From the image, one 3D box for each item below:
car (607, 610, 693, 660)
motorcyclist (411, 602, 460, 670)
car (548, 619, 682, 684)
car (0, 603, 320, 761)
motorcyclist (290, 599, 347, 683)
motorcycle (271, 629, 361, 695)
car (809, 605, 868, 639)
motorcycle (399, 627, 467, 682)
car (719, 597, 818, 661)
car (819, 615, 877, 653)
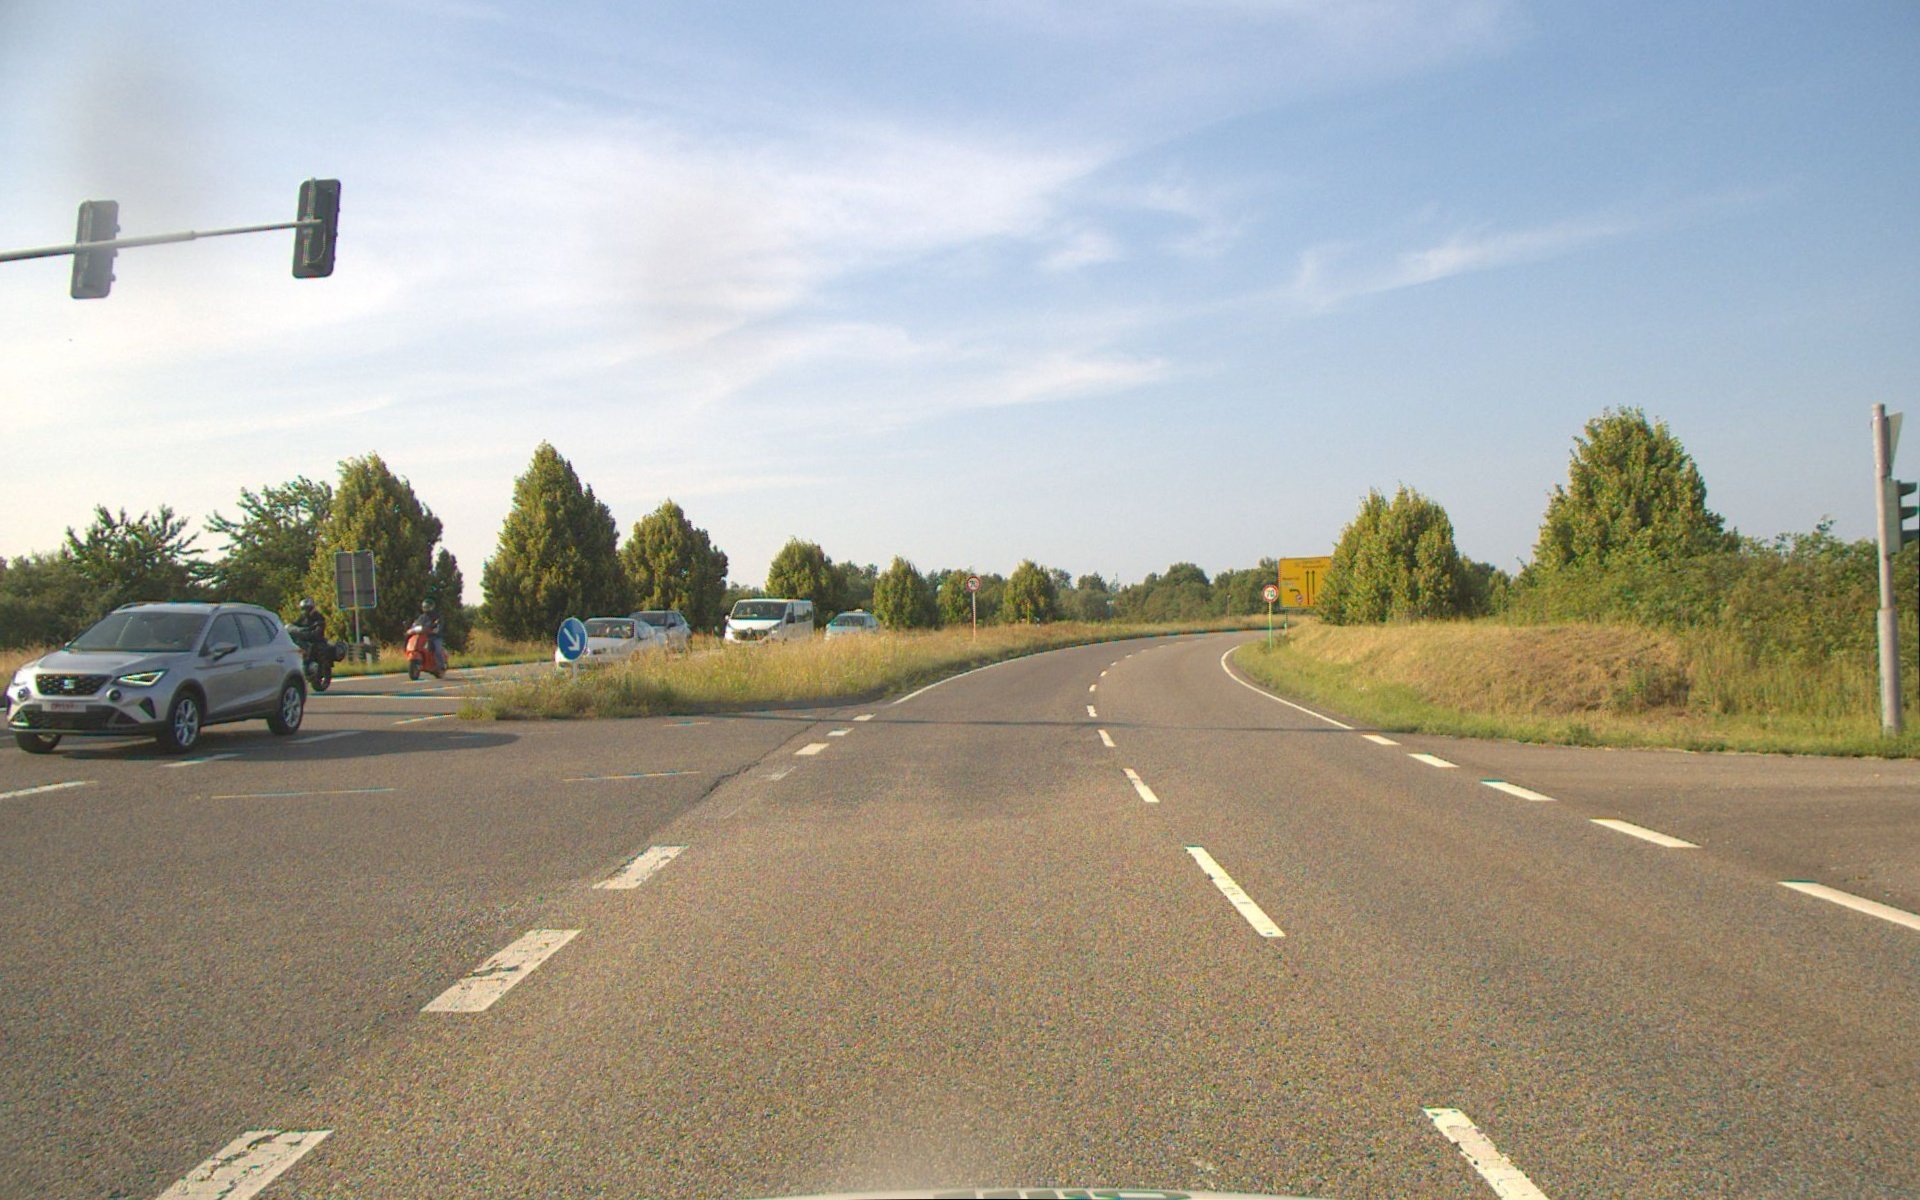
[{"bbox_3d":[-9.934,1.114,53.288,1.670,1.552,4.137,0,-1,5],"label":"car"},{"bbox_3d":[-11.729,0.805,37.013,0.689,1.490,1.021,0,-1,6],"label":"motorcyclist"},{"bbox_3d":[-7.633,1.111,36.988,1.658,1.377,4.456,0,-1,6],"label":"car"},{"bbox_3d":[-8.734,0.829,18.339,1.651,1.550,4.092,0,-1,1],"label":"car"},{"bbox_3d":[-11.850,0.746,30.571,0.683,1.529,0.896,0,-1,2],"label":"motorcyclist"},{"bbox_3d":[-11.850,1.124,30.521,0.686,1.158,2.278,0,-1,2],"label":"motorcycle"},{"bbox_3d":[-5.786,1.062,79.465,1.872,1.593,4.614,0,-1,8],"label":"car"},{"bbox_3d":[-11.741,1.198,36.902,0.692,1.179,2.024,0,-1,6],"label":"motorcycle"},{"bbox_3d":[-6.040,0.907,52.932,1.951,1.937,5.792,0,-1,6],"label":"car"},{"bbox_3d":[-4.388,1.319,65.078,1.643,1.469,3.754,0,-1,6],"label":"car"}]
